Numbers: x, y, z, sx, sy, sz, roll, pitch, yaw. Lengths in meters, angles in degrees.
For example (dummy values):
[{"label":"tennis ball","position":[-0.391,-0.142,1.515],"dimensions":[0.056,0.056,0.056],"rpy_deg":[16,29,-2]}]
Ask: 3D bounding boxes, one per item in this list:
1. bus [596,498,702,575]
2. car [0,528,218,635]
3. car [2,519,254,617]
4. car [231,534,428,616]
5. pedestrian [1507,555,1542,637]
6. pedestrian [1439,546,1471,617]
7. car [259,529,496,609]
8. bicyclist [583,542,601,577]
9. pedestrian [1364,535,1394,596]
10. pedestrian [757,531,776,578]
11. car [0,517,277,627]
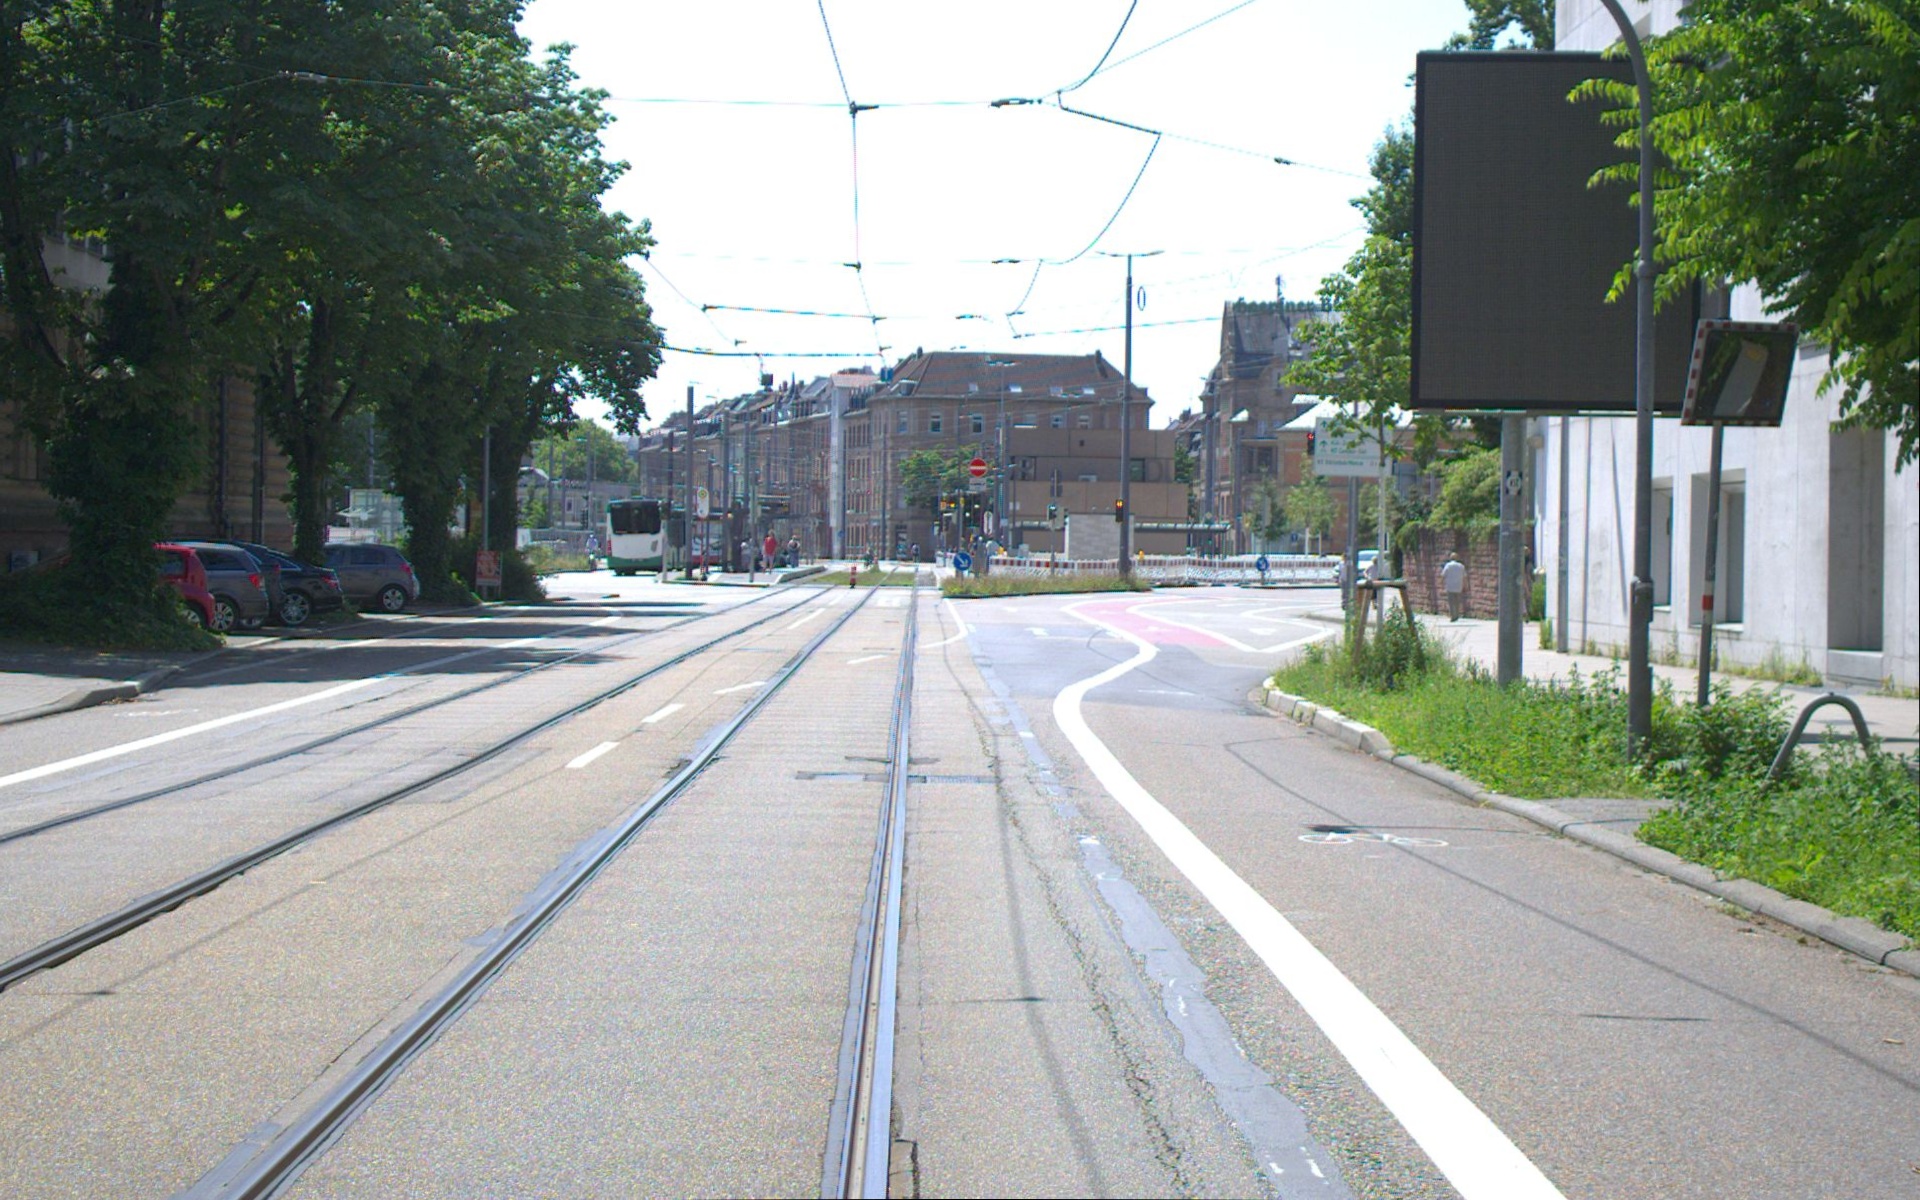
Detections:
[{"label":"bus","position":[-13.635,-2.791,152.221],"dimensions":[3.010,3.147,17.498],"rpy_deg":[1,1,0]},{"label":"car","position":[-13.287,-0.290,52.802],"dimensions":[3.341,1.511,1.670],"rpy_deg":[2,1,-26]},{"label":"car","position":[-14.169,-0.536,58.551],"dimensions":[3.805,1.571,1.794],"rpy_deg":[1,1,-29]},{"label":"car","position":[-13.247,-0.524,72.238],"dimensions":[3.664,1.515,1.670],"rpy_deg":[3,0,-28]},{"label":"pedestrian","position":[12.523,-0.093,76.266],"dimensions":[0.627,1.767,0.718],"rpy_deg":[-2,0,15]},{"label":"pedestrian","position":[11.734,-0.440,81.487],"dimensions":[0.661,1.641,0.624],"rpy_deg":[1,1,5]},{"label":"car","position":[-10.603,-0.561,62.558],"dimensions":[3.920,1.369,1.670],"rpy_deg":[1,1,-26]},{"label":"bicyclist","position":[-18.274,-2.027,170.804],"dimensions":[0.820,1.704,0.770],"rpy_deg":[1,1,-2]},{"label":"pedestrian","position":[12.526,-1.039,102.899],"dimensions":[0.814,1.802,0.700],"rpy_deg":[1,1,4]},{"label":"pedestrian","position":[-7.933,-1.875,141.062],"dimensions":[0.672,1.903,0.641],"rpy_deg":[1,1,-10]},{"label":"car","position":[-13.489,-0.454,55.869],"dimensions":[4.307,1.579,1.669],"rpy_deg":[2,0,-29]}]
